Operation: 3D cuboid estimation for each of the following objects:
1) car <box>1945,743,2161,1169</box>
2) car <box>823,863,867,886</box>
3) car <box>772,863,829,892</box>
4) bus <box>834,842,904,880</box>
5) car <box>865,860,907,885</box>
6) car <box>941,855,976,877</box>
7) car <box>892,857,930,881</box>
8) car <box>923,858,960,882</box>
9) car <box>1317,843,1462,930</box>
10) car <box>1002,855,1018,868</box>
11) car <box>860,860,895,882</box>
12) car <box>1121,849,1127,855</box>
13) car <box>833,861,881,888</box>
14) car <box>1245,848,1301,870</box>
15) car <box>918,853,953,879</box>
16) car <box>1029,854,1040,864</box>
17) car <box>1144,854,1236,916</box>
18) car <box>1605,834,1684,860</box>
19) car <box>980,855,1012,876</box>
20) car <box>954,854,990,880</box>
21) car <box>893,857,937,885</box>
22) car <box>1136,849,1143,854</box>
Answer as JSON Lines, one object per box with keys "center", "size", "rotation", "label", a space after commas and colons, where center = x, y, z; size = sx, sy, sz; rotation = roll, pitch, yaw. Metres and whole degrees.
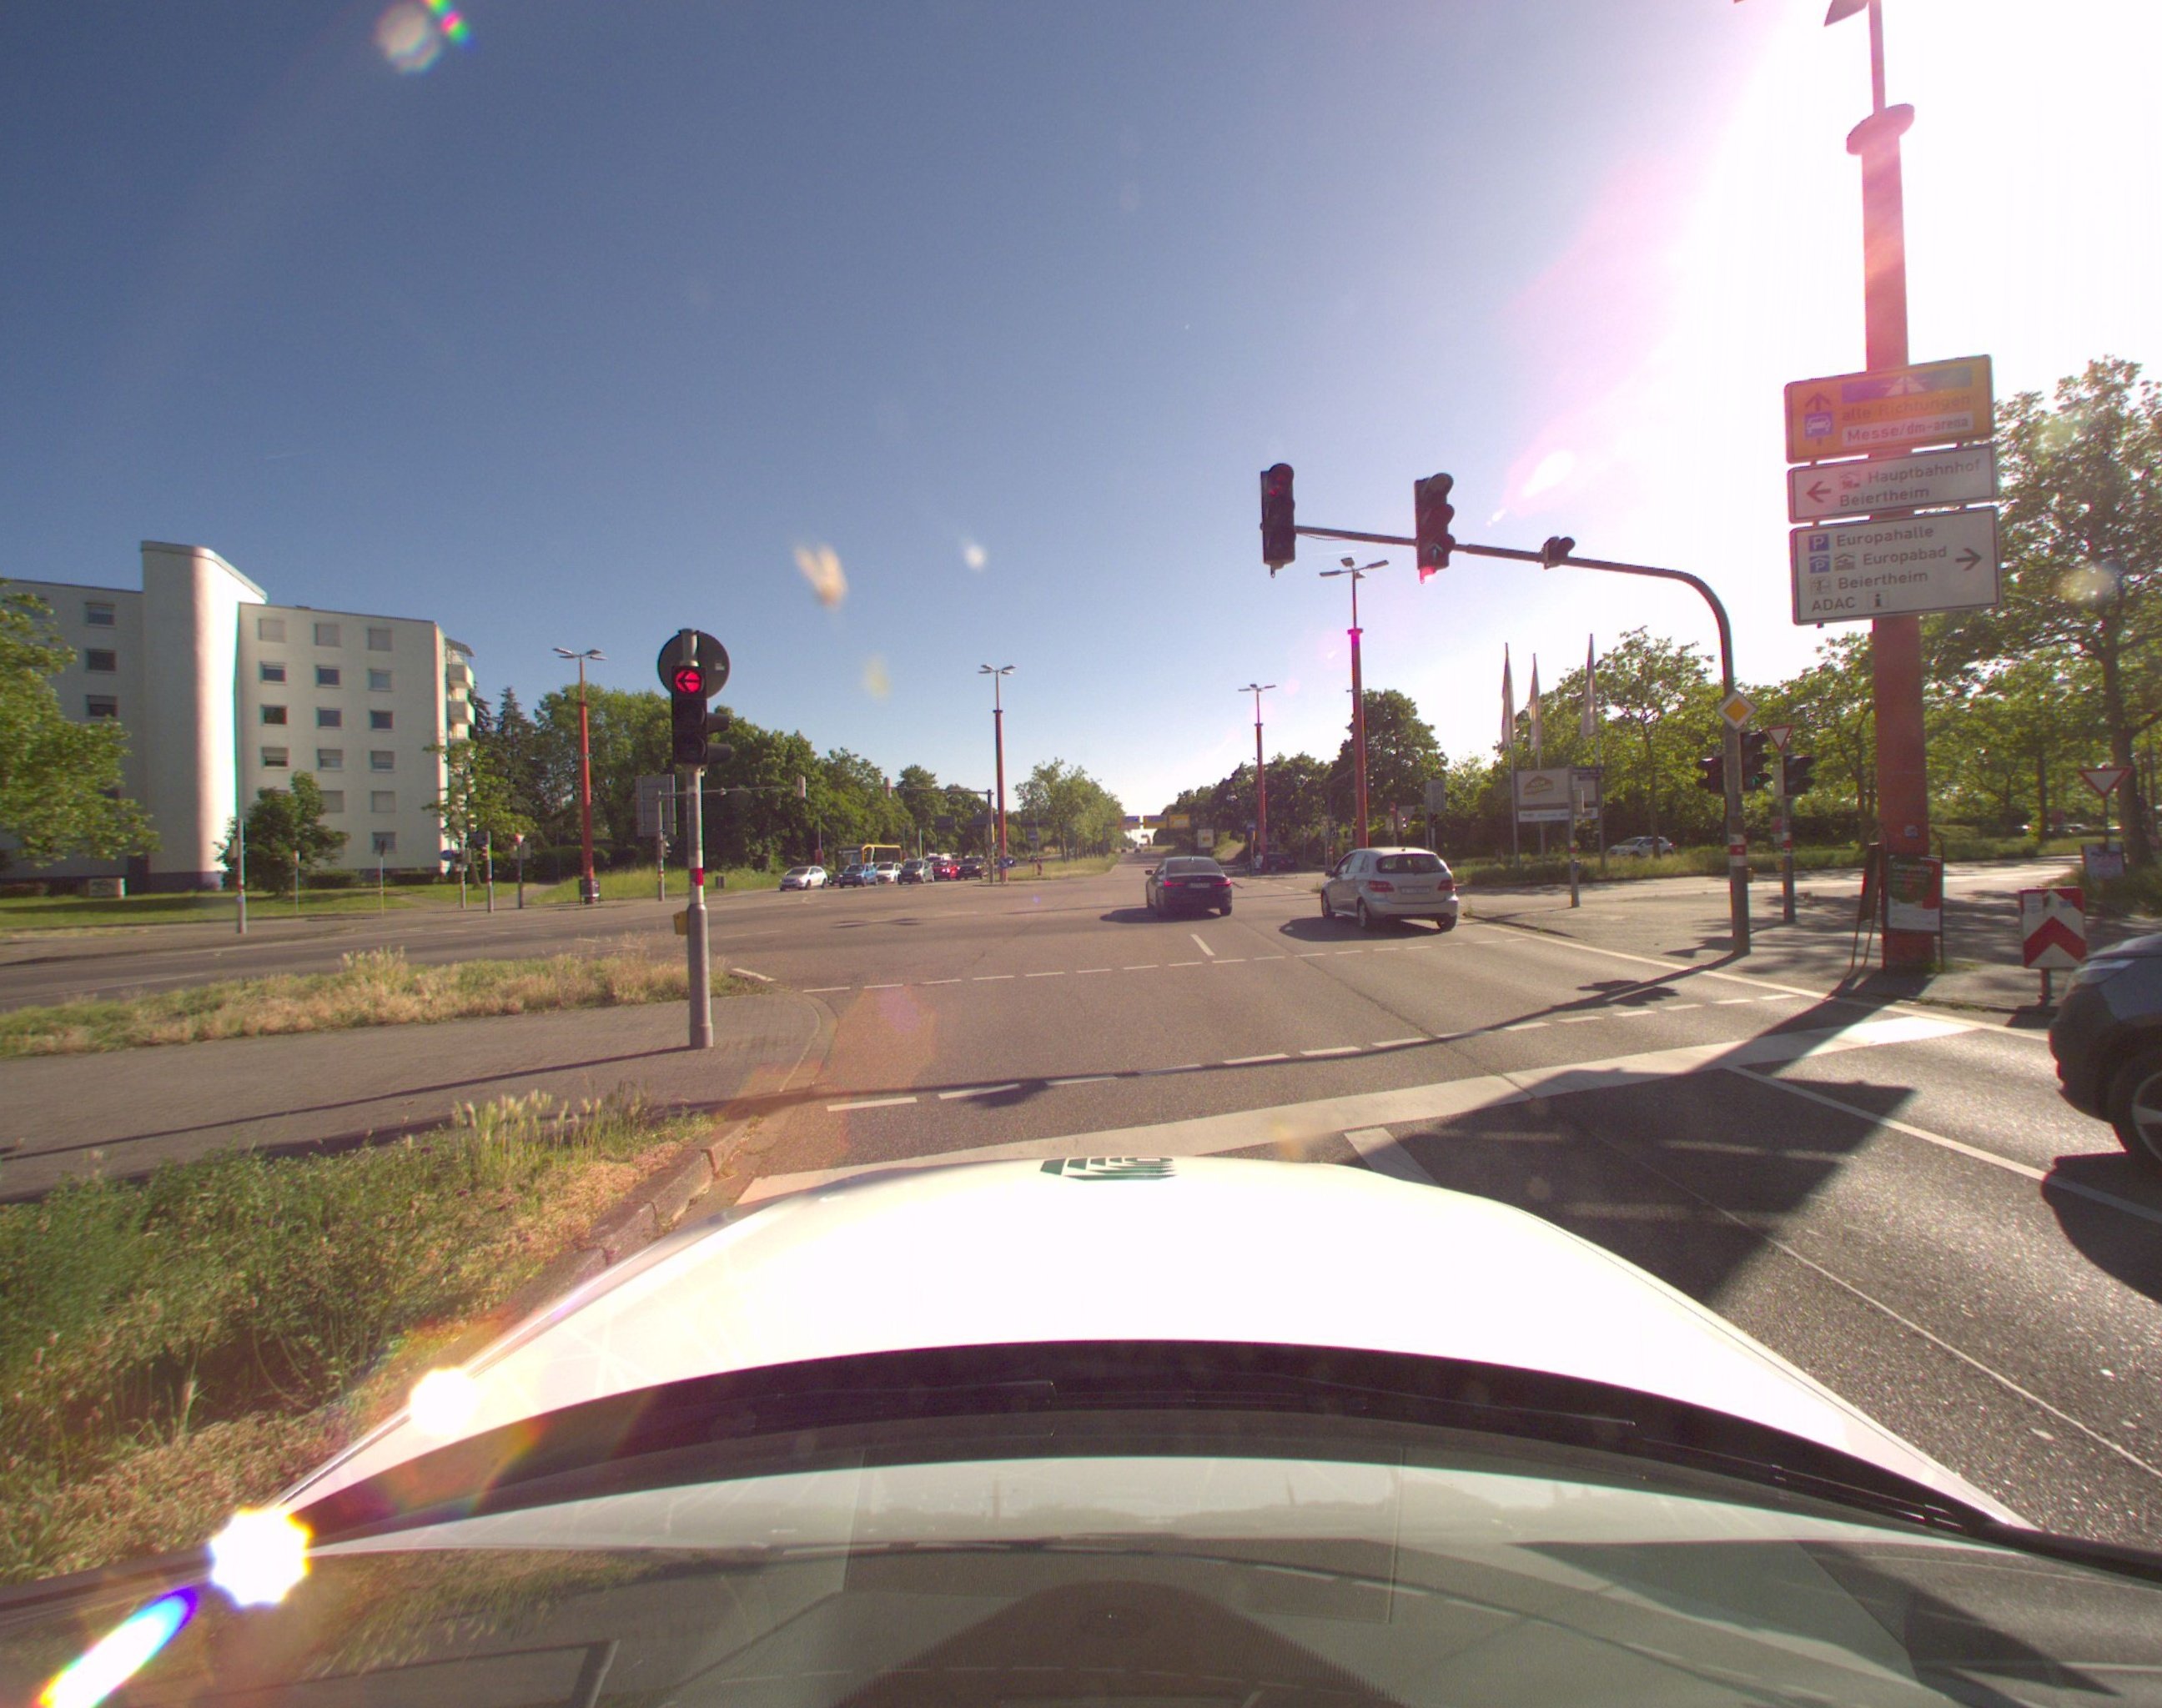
{"center": [5.465, 0.418, 1.831], "size": [1.796, 1.852, 5.108], "rotation": [-2, 0, 4], "label": "car"}
{"center": [-17.550, 1.500, 60.681], "size": [1.877, 1.513, 4.003], "rotation": [-3, 0, 3], "label": "car"}
{"center": [-17.637, 1.421, 51.418], "size": [1.869, 1.652, 4.222], "rotation": [-3, -1, 3], "label": "car"}
{"center": [-19.694, 0.631, 76.548], "size": [2.635, 3.261, 12.545], "rotation": [0, 0, 3], "label": "bus"}
{"center": [-13.767, 1.285, 57.764], "size": [1.895, 1.555, 4.000], "rotation": [-3, 0, 0], "label": "car"}
{"center": [-9.740, 0.931, 65.022], "size": [1.893, 1.630, 4.003], "rotation": [-1, 0, 3], "label": "car"}
{"center": [-13.352, 1.141, 64.252], "size": [1.866, 1.784, 4.004], "rotation": [-2, 0, 3], "label": "car"}
{"center": [-10.060, 1.123, 59.025], "size": [1.869, 1.552, 4.000], "rotation": [-5, 0, 0], "label": "car"}
{"center": [6.290, 0.615, 17.053], "size": [1.709, 1.608, 3.849], "rotation": [0, -1, 2], "label": "car"}
{"center": [-10.045, 1.042, 115.637], "size": [1.830, 1.837, 3.962], "rotation": [-2, 0, 2], "label": "car"}
{"center": [-16.793, 1.381, 67.366], "size": [1.772, 1.652, 3.973], "rotation": [-4, -1, 0], "label": "car"}
{"center": [13.438, -0.687, 254.039], "size": [1.986, 1.733, 4.001], "rotation": [0, -1, 2], "label": "car"}
{"center": [-14.130, 1.284, 51.617], "size": [1.794, 1.515, 3.861], "rotation": [-3, 0, 2], "label": "car"}
{"center": [14.709, 0.364, 62.730], "size": [1.775, 1.635, 4.257], "rotation": [0, -1, -30], "label": "car"}
{"center": [-12.716, 0.997, 71.302], "size": [1.954, 2.155, 5.083], "rotation": [-2, 0, 1], "label": "car"}
{"center": [-9.988, 1.061, 175.197], "size": [1.913, 1.999, 4.605], "rotation": [-2, 0, 1], "label": "car"}
{"center": [2.718, 0.746, 21.189], "size": [1.758, 1.441, 4.293], "rotation": [0, 0, -1], "label": "car"}
{"center": [37.488, -0.479, 54.231], "size": [4.284, 1.635, 1.764], "rotation": [-1, 0, -10], "label": "car"}
{"center": [-6.671, 0.860, 64.168], "size": [1.878, 1.543, 4.002], "rotation": [-3, 0, 2], "label": "car"}
{"center": [-7.521, 0.856, 56.704], "size": [1.787, 1.626, 4.144], "rotation": [-3, 0, 1], "label": "car"}
{"center": [-10.689, 1.077, 52.698], "size": [1.867, 1.550, 4.029], "rotation": [-3, 0, 2], "label": "car"}
{"center": [17.673, -0.738, 247.928], "size": [1.986, 1.733, 4.001], "rotation": [0, -1, 2], "label": "car"}
